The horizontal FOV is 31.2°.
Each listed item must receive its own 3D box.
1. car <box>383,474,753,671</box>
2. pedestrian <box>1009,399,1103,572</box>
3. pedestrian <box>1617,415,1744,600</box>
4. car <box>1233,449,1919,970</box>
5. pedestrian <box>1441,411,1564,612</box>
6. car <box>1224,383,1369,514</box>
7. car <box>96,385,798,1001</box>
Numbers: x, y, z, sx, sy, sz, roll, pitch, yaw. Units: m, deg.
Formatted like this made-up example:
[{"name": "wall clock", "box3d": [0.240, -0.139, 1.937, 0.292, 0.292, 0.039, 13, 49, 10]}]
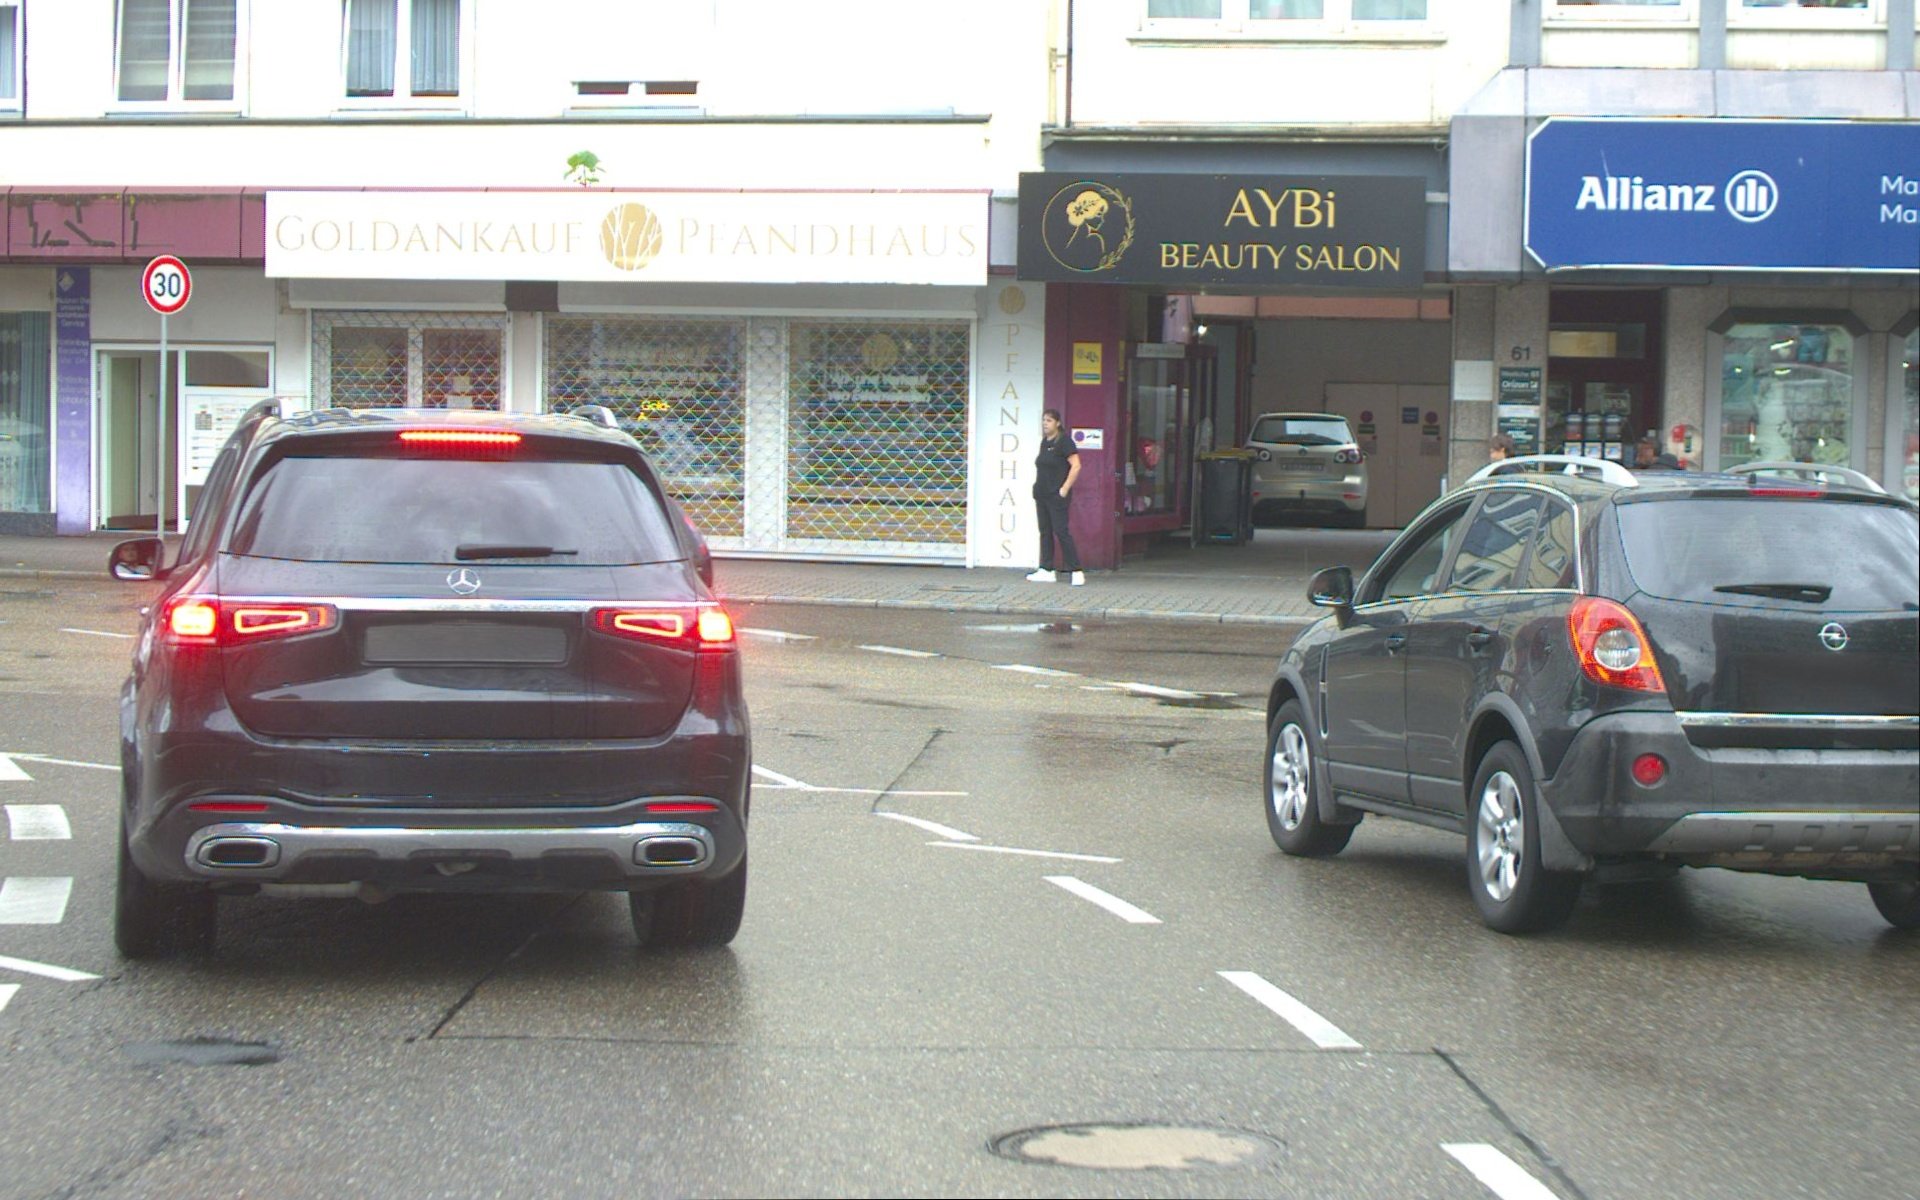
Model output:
[{"name": "car", "box3d": [-3.094, -0.247, 26.433, 1.766, 1.392, 4.001, 0, 1, -23]}, {"name": "pedestrian", "box3d": [0.968, -1.169, 34.771, 0.753, 1.683, 0.566, -3, 8, -23]}, {"name": "pedestrian", "box3d": [6.903, -0.897, 32.967, 1.030, 1.683, 0.830, 1, 7, 4]}, {"name": "car", "box3d": [2.602, 0.263, 13.784, 1.897, 1.689, 4.507, -1, 3, -10]}, {"name": "pedestrian", "box3d": [5.091, -0.838, 32.326, 1.030, 1.793, 0.830, 1, 7, 4]}, {"name": "car", "box3d": [4.466, -2.002, 46.124, 1.797, 1.664, 4.000, 1, 1, 4]}, {"name": "car", "box3d": [-2.074, 0.173, 12.504, 2.038, 1.792, 4.665, 0, 2, -14]}]
